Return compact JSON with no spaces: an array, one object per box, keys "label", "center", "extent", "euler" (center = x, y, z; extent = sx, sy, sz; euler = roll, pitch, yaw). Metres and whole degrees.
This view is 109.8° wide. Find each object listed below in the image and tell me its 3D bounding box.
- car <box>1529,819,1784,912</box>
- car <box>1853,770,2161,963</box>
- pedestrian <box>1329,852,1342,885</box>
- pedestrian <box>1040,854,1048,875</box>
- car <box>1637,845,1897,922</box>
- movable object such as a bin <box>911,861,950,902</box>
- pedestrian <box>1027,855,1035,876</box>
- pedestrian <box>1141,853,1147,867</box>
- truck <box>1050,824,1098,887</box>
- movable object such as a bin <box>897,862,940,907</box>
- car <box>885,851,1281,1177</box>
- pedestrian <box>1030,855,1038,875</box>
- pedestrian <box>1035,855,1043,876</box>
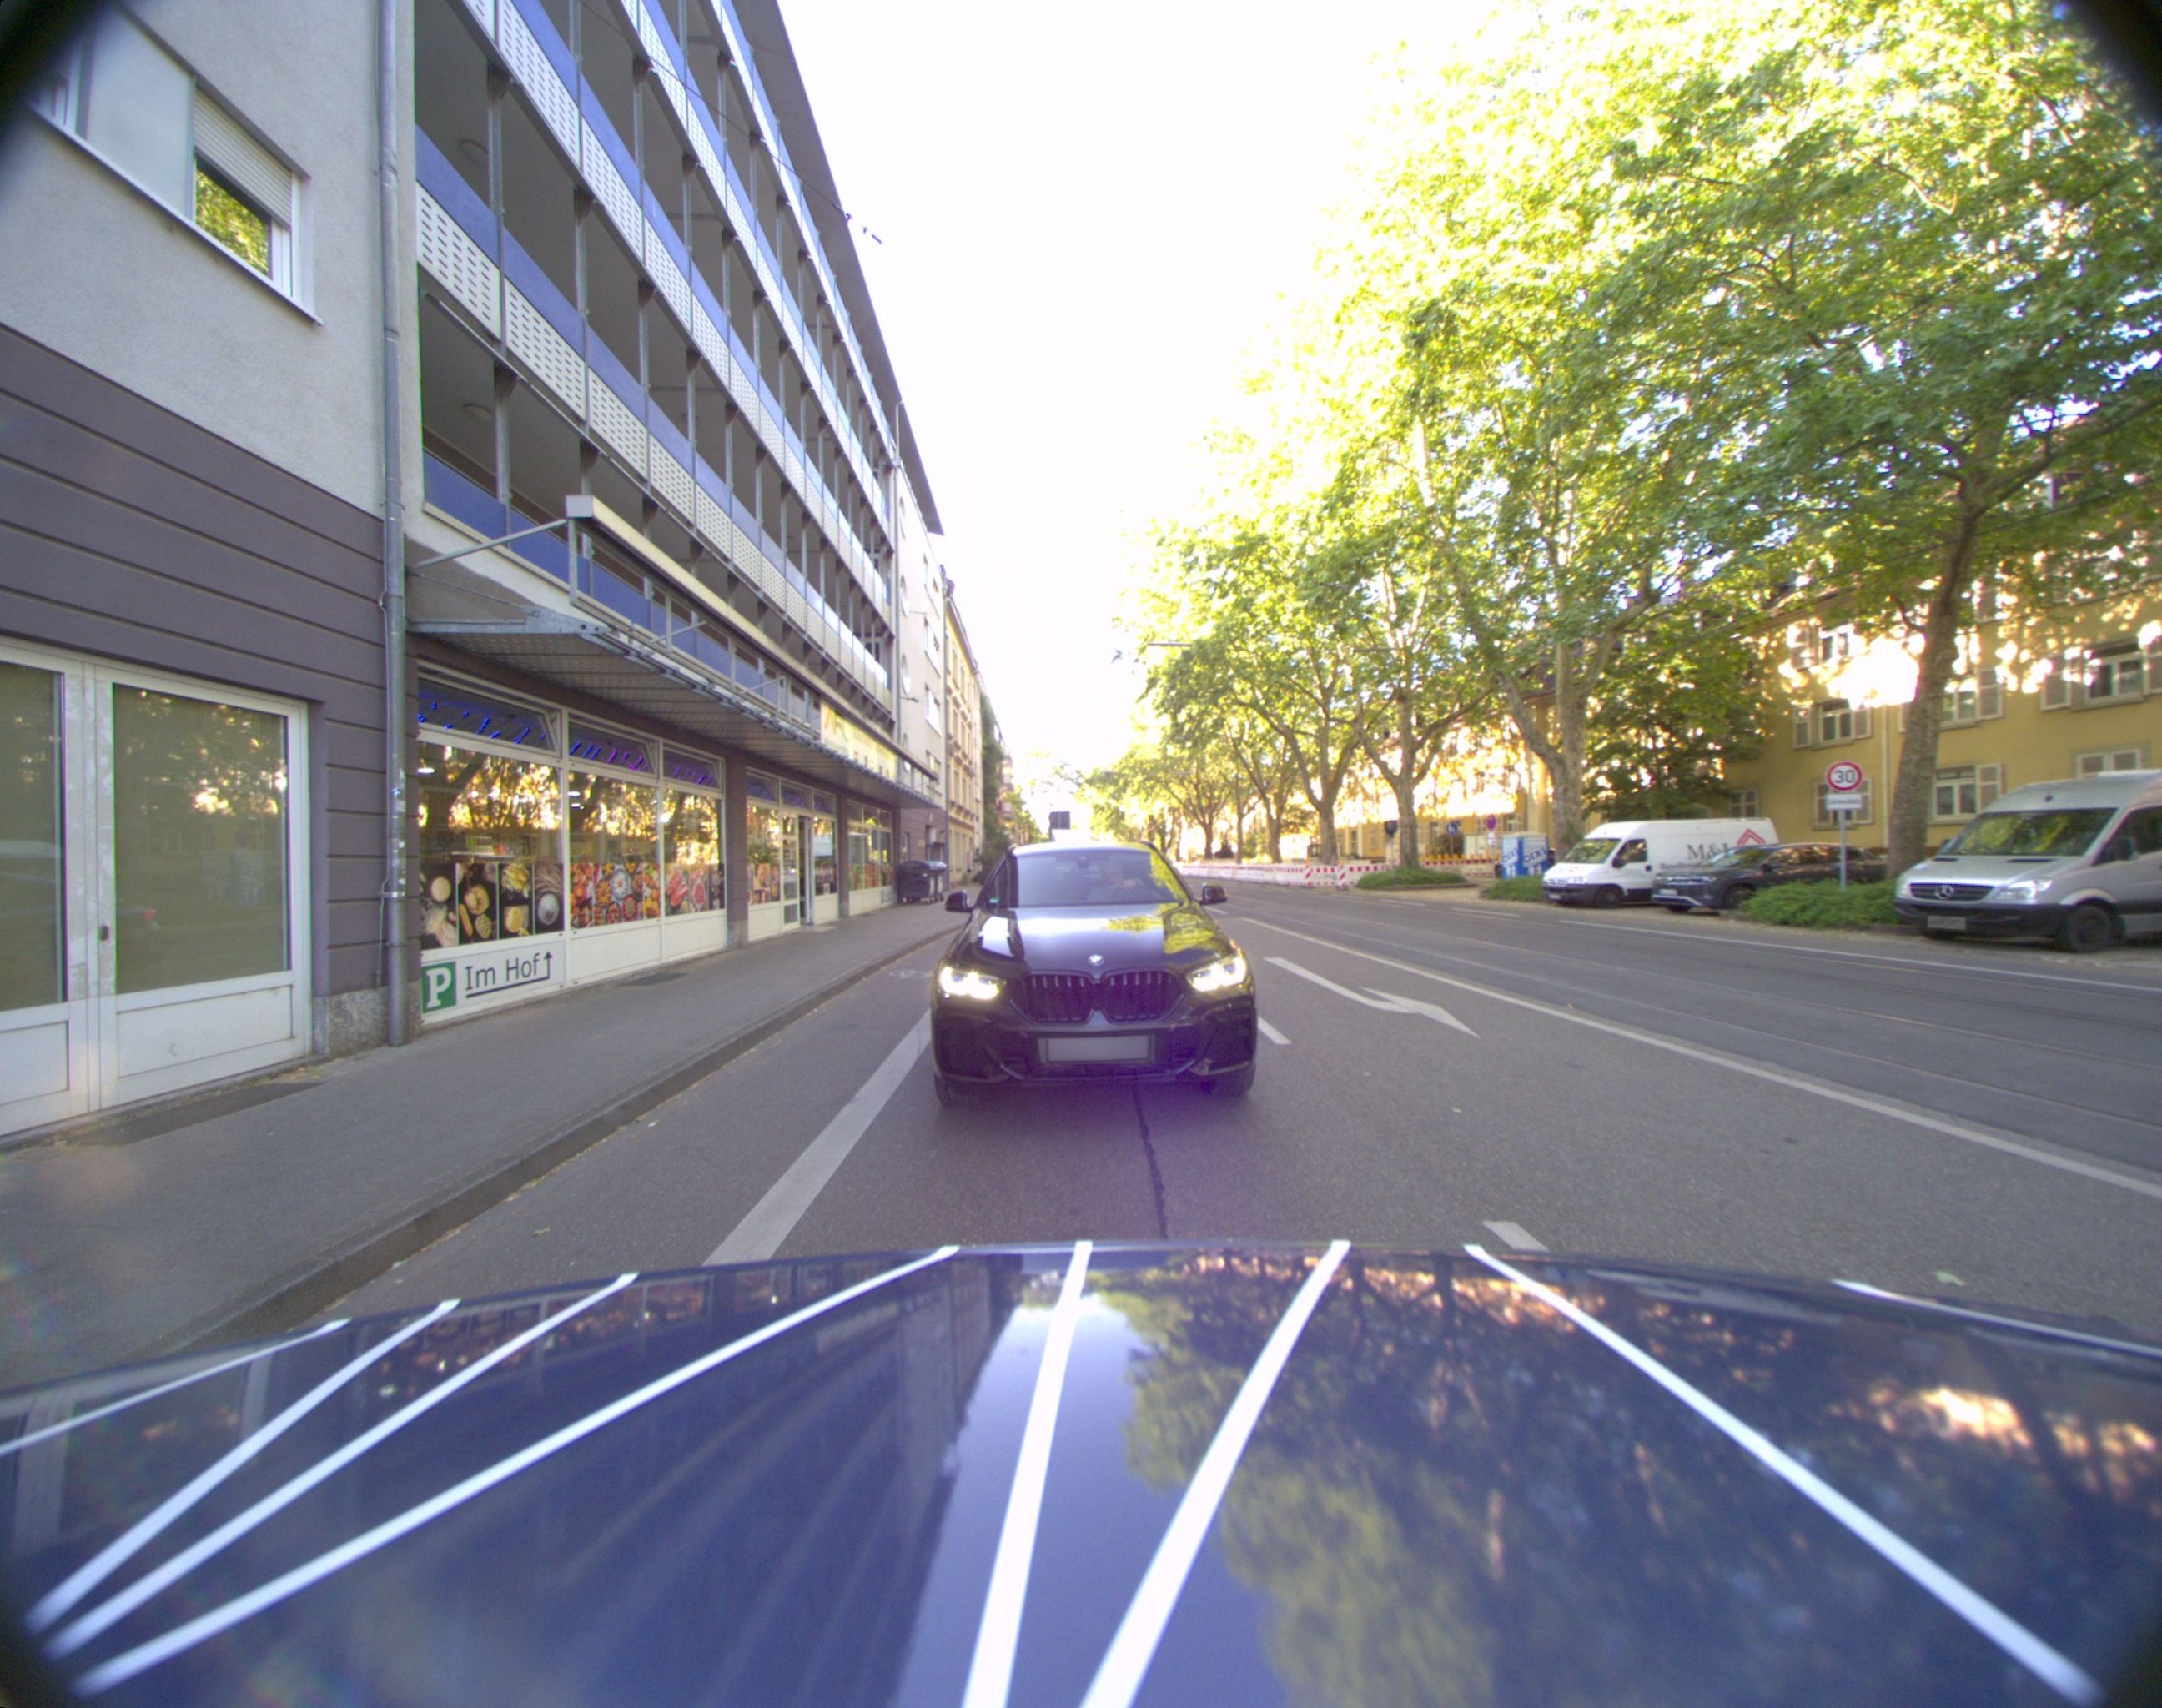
[{"label":"car","center":[15.843,0.296,21.156],"extent":[5.404,2.362,2.223],"euler":[-1,0,0]},{"label":"car","center":[15.982,0.134,11.867],"extent":[5.666,2.666,2.223],"euler":[-2,0,-2]},{"label":"pedestrian","center":[13.509,0.754,40.357],"extent":[0.582,1.735,0.653],"euler":[-2,1,18]},{"label":"pedestrian","center":[-3.509,0.986,72.023],"extent":[0.733,1.875,0.664],"euler":[-2,1,-1]},{"label":"car","center":[16.076,0.664,17.949],"extent":[4.627,1.642,1.774],"euler":[-1,0,-2]},{"label":"movable object such as a bin","center":[-5.285,0.952,26.695],"extent":[1.158,1.418,0.939],"euler":[-1,0,1]},{"label":"pedestrian","center":[-4.621,1.063,70.588],"extent":[0.600,1.875,0.581],"euler":[-2,1,-1]},{"label":"pedestrian","center":[8.660,0.775,103.898],"extent":[0.732,1.875,0.742],"euler":[-2,1,4]},{"label":"truck","center":[-0.315,0.123,42.155],"extent":[2.394,3.170,6.587],"euler":[-1,0,1]},{"label":"movable object such as a bin","center":[-5.268,0.984,24.657],"extent":[1.158,1.418,0.939],"euler":[-1,0,1]},{"label":"car","center":[0.039,0.829,6.032],"extent":[1.998,1.643,4.295],"euler":[-1,0,1]},{"label":"pedestrian","center":[-4.464,1.030,72.201],"extent":[0.733,1.875,0.664],"euler":[-2,1,-1]},{"label":"pedestrian","center":[-3.910,1.038,70.412],"extent":[0.600,1.875,0.581],"euler":[-2,1,-1]}]
